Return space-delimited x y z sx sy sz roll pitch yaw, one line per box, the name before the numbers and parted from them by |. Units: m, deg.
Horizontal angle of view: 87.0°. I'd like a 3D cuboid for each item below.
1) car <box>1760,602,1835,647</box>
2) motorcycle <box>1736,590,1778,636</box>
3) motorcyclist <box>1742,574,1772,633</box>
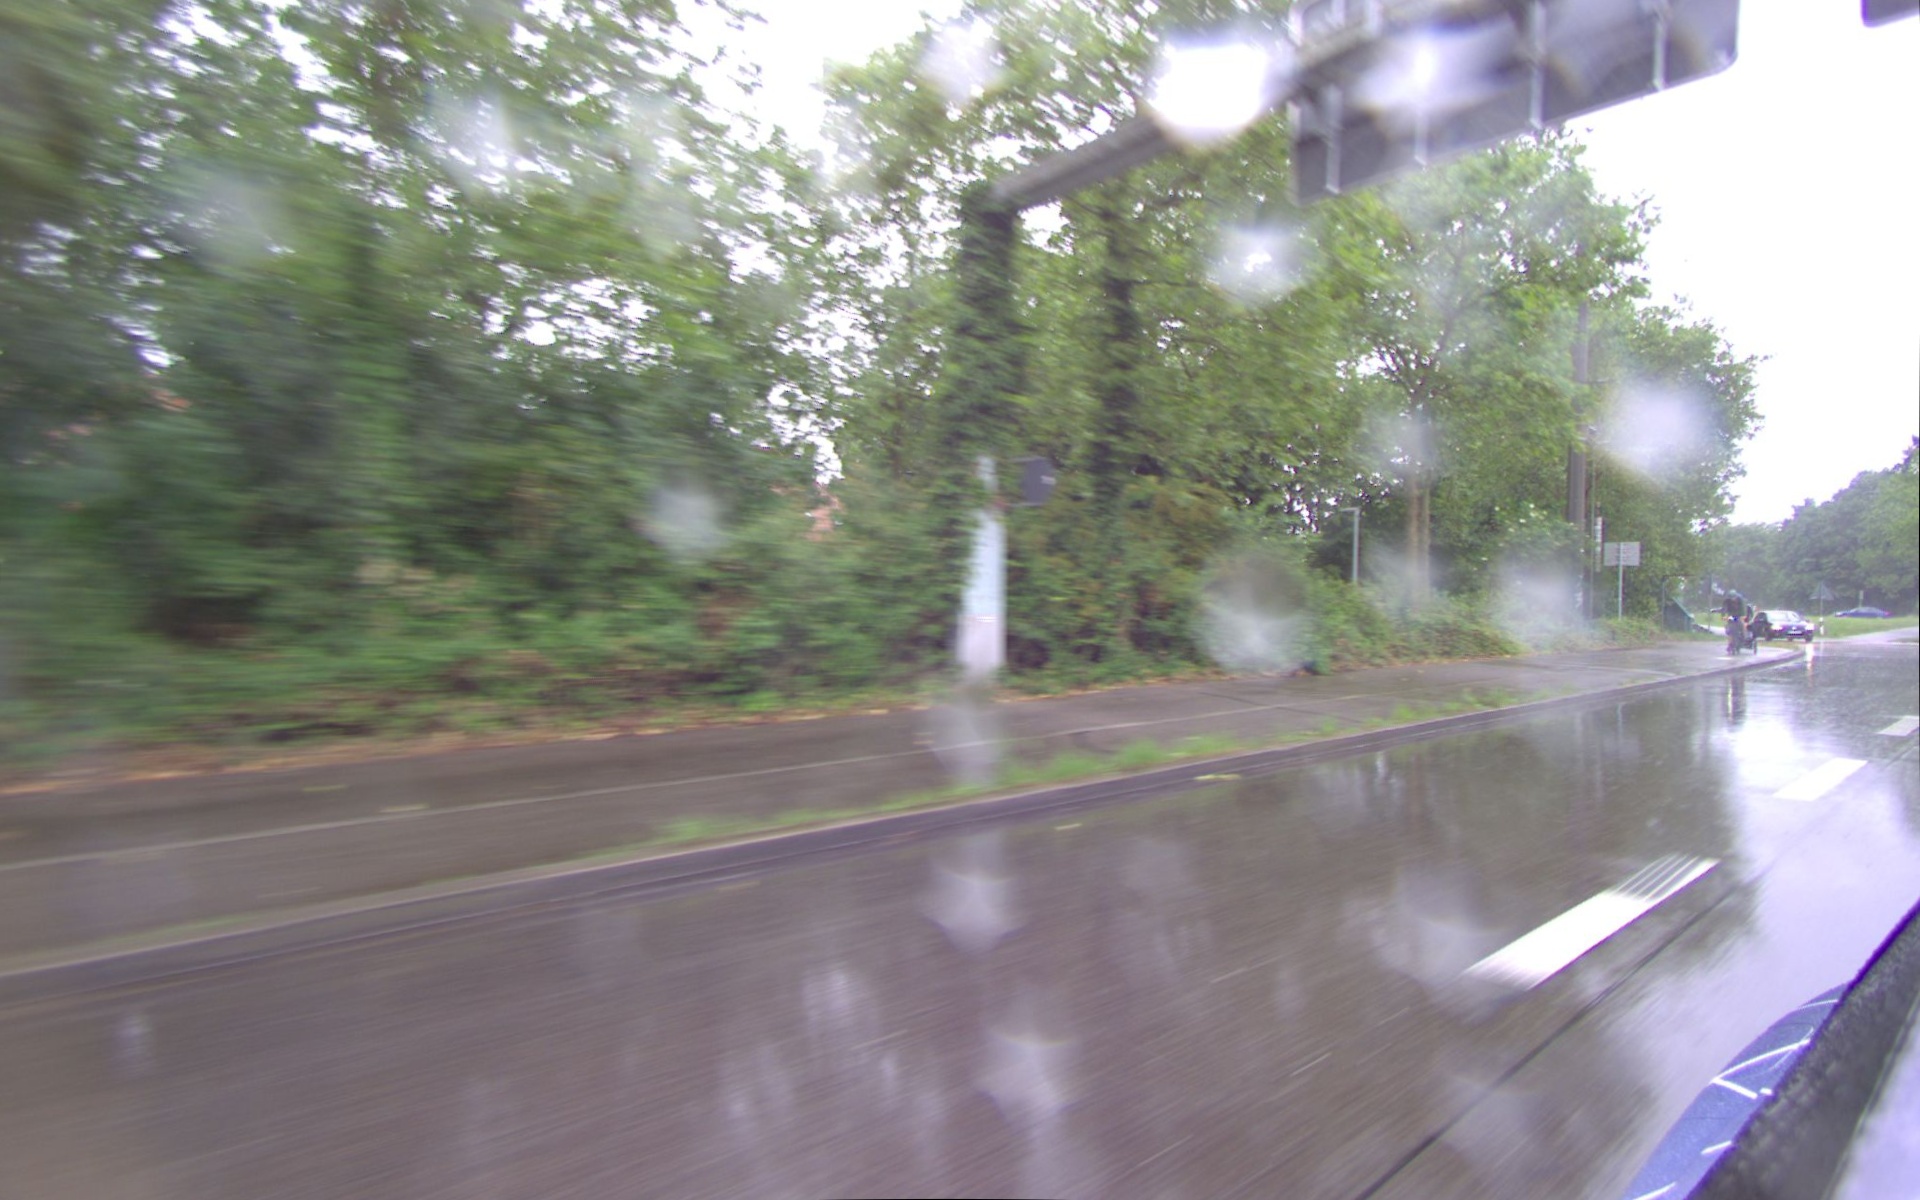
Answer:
car | 40.182 1.127 48.641 1.981 2.039 3.961 0 0 28
motorcycle | 31.244 0.486 39.646 2.541 1.742 0.844 0 0 -41
motorcyclist | 31.129 0.132 39.516 0.900 2.287 0.762 0 0 -41
